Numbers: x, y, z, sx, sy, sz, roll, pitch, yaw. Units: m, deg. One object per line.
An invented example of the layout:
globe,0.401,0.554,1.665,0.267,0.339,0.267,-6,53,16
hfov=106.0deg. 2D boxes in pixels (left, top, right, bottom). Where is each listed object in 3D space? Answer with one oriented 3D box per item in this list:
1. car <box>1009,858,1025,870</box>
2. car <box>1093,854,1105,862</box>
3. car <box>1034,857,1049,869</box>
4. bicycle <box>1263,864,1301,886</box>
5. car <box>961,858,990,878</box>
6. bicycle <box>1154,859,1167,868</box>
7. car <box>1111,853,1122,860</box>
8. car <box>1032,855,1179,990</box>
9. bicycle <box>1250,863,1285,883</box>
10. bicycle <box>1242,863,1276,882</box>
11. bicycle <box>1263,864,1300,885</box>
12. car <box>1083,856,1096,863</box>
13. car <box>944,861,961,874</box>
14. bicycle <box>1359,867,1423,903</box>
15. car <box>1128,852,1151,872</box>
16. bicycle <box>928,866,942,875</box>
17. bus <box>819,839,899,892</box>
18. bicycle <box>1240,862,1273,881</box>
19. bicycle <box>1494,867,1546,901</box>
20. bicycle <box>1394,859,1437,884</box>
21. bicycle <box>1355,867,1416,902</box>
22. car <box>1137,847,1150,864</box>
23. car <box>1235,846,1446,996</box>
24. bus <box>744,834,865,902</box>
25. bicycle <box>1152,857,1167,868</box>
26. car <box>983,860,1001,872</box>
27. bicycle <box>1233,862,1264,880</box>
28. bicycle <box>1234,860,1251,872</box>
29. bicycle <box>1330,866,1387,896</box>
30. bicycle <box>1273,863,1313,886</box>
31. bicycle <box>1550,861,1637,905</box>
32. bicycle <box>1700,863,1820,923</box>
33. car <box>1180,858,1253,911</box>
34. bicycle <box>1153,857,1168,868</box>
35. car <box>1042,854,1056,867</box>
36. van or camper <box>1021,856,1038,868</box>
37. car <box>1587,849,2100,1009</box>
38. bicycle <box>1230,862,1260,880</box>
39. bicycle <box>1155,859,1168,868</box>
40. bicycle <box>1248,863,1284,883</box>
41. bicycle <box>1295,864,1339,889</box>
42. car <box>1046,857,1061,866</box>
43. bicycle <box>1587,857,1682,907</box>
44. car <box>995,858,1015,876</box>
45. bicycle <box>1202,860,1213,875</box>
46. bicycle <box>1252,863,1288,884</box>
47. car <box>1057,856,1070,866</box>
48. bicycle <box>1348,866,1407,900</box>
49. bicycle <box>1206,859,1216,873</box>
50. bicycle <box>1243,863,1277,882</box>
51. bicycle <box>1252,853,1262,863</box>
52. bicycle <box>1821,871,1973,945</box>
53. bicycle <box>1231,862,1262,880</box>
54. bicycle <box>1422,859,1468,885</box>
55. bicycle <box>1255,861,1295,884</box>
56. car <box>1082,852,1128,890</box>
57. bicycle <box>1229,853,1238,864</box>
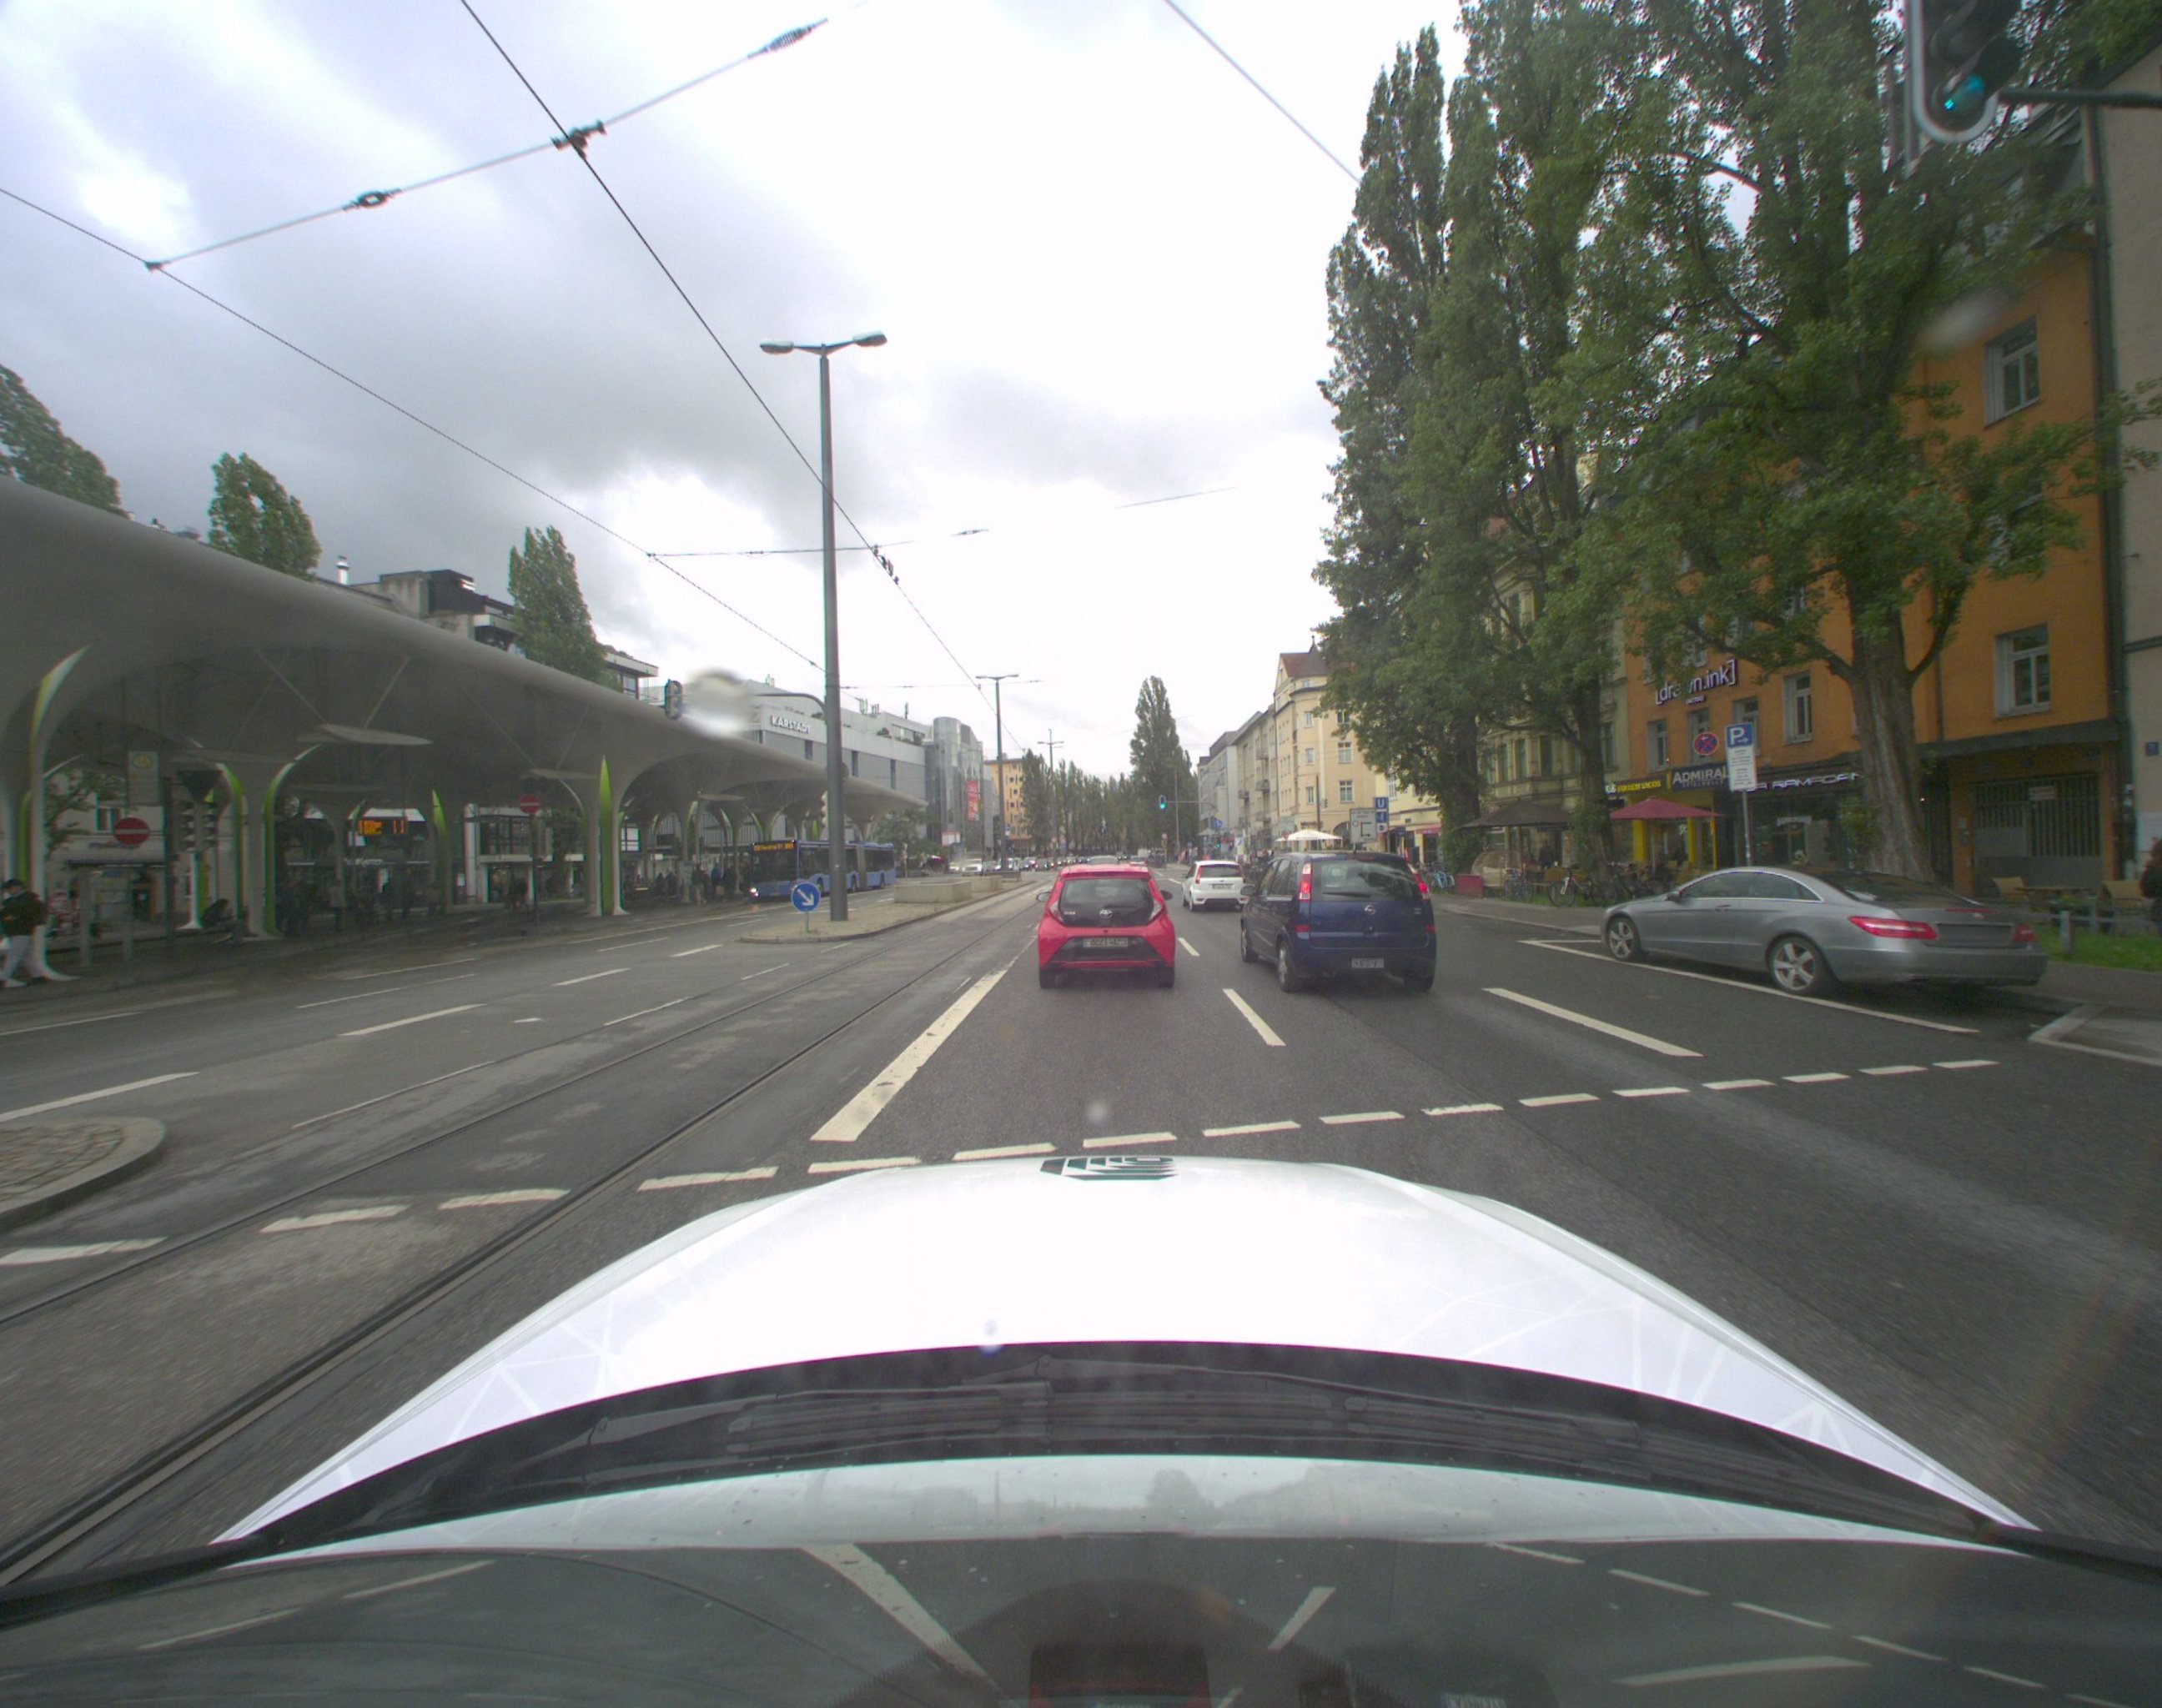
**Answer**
car,-8.162,1.245,104.427,1.672,1.395,4.232,-2,0,0
car,4.218,0.962,185.714,1.982,1.691,4.934,2,1,9
car,-4.833,1.079,100.026,1.544,1.445,3.530,-2,0,-7
bicycle,9.599,0.990,38.977,1.819,0.995,0.327,0,1,42
car,-10.909,1.446,84.777,2.168,1.887,6.155,-2,0,0
bicycle,9.247,1.100,94.712,0.502,1.028,1.582,-2,0,-40
car,9.206,0.760,210.497,1.978,1.728,3.933,-2,0,16
car,0.359,0.776,10.736,1.598,1.461,3.132,-2,0,3
bicycle,9.578,0.996,41.785,0.350,0.996,1.819,-2,-1,-44
bicycle,9.704,1.001,44.520,1.818,0.996,0.350,-3,-1,41
bicycle,9.732,0.991,39.550,1.819,0.995,0.327,0,1,42
car,1.900,1.146,176.161,1.980,1.534,4.602,-2,0,12
car,-16.987,1.790,107.307,1.994,1.536,4.399,-3,0,-10
bicycle,9.181,0.899,24.181,0.377,0.995,1.821,-2,1,-37
car,5.534,0.757,77.939,1.986,1.838,4.002,-2,0,2
bicycle,-17.689,1.971,98.453,1.566,1.112,0.374,-2,0,5
bus,-14.111,0.684,52.384,2.650,3.007,7.516,-4,0,2
bicycle,9.724,1.003,45.175,1.818,0.996,0.350,-3,-1,41
bicycle,12.432,0.832,23.115,0.455,0.892,1.894,-2,0,1
bicycle,14.297,0.747,34.847,1.719,1.045,0.387,-1,1,-5
bicycle,9.250,0.900,24.821,0.377,0.995,1.821,-2,1,-37
car,10.826,0.230,141.061,2.098,2.718,4.807,-2,0,3
car,3.099,0.719,10.457,1.696,1.589,3.558,0,0,2
bus,-14.350,0.662,43.387,2.652,3.007,10.514,-4,0,0
bicycle,9.342,1.009,96.765,1.781,1.158,0.551,-2,0,40
car,-10.795,1.482,98.939,1.667,1.378,4.613,-2,0,1
bicycle,9.733,1.007,47.322,1.818,0.996,0.350,-3,-1,41
bicycle,16.006,1.191,80.501,1.561,1.160,0.525,-3,1,4
bicycle,9.417,0.907,27.709,1.818,0.995,0.378,0,1,40
bicycle,9.705,0.930,37.341,1.818,0.995,0.327,0,1,38
bicycle,13.160,0.745,20.925,1.879,1.054,0.459,-2,-1,3
bicycle,12.822,0.736,15.401,1.882,1.054,0.458,-2,-1,-2
car,3.971,0.852,24.315,1.693,1.426,3.498,1,0,1
bicycle,9.349,1.018,95.371,0.562,1.198,1.782,-2,0,-45
car,-4.185,0.787,104.796,1.502,1.534,2.831,-3,1,-7
van or camper,-8.365,1.304,132.072,1.920,1.826,5.446,-2,0,4
car,8.601,0.712,9.942,1.987,1.440,4.528,-2,0,0
bicycle,9.773,1.011,48.674,0.350,0.996,1.819,-2,-1,-45
bicycle,9.291,1.100,93.855,0.502,1.028,1.582,-2,0,-40
bicycle,9.625,0.997,42.450,1.818,0.996,0.350,-3,-1,42
bicycle,9.693,0.921,33.491,0.327,0.995,1.820,-2,1,-41
car,-4.723,1.329,140.474,1.984,1.412,4.174,-2,0,6
bicycle,13.626,0.678,20.066,1.879,1.174,0.582,-2,-1,3
car,-8.208,1.405,88.212,1.780,1.855,4.217,-3,0,-1
bicycle,11.135,1.186,71.800,0.611,1.265,2.521,-2,0,3
bicycle,9.509,0.994,41.012,0.327,0.996,1.819,-2,-1,-44
car,-3.151,1.303,148.670,1.733,1.670,4.742,-2,0,7
bicycle,9.298,0.902,25.585,0.377,0.995,1.821,-2,1,-37
bicycle,12.208,1.130,76.332,0.611,1.265,2.521,-2,0,3
bicycle,9.631,1.000,43.857,0.350,0.996,1.819,-2,-1,-44
bicycle,18.382,0.419,85.081,0.493,1.059,1.864,-2,0,-2
bicycle,11.902,0.759,11.954,0.587,0.965,1.654,-2,0,2
bicycle,9.751,1.009,48.009,0.350,0.996,1.819,-2,-1,-45
bicycle,15.182,0.749,33.971,1.711,1.045,0.389,-1,1,12
bicycle,9.611,0.923,40.307,1.818,1.112,0.470,-2,0,34
car,1.110,0.773,38.238,1.986,1.618,4.001,-2,0,1
bicycle,15.935,0.498,85.026,0.564,1.108,1.867,-2,0,2
